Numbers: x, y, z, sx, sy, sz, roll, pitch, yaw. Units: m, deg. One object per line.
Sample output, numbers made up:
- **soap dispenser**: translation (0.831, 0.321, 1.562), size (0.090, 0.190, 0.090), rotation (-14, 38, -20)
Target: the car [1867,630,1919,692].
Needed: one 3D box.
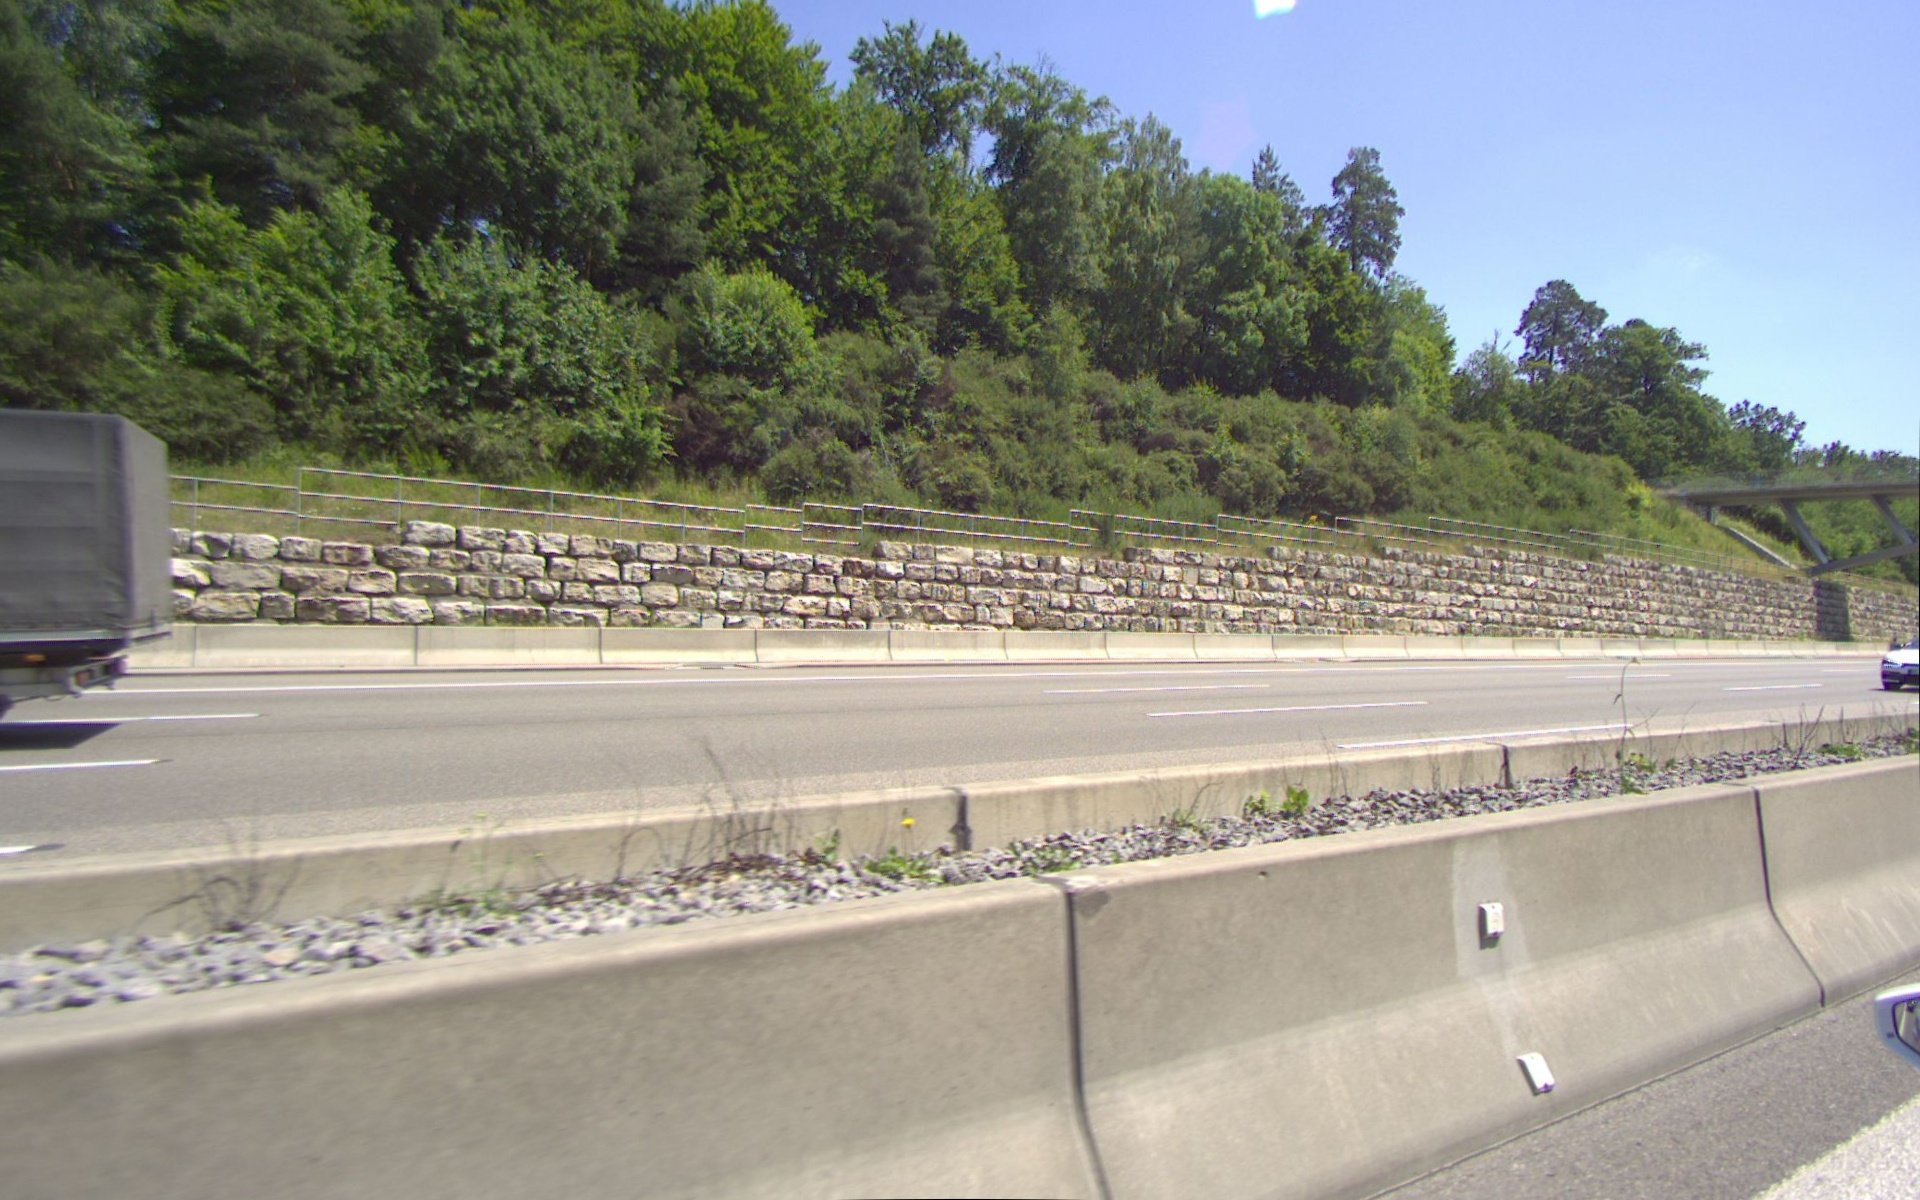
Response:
- **car**: translation (25.633, 1.556, 26.073), size (4.752, 1.516, 1.890), rotation (1, 0, -32)

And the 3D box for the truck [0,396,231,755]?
- **truck**: translation (-10.836, -0.285, 8.872), size (6.837, 3.185, 2.265), rotation (1, 1, -30)
